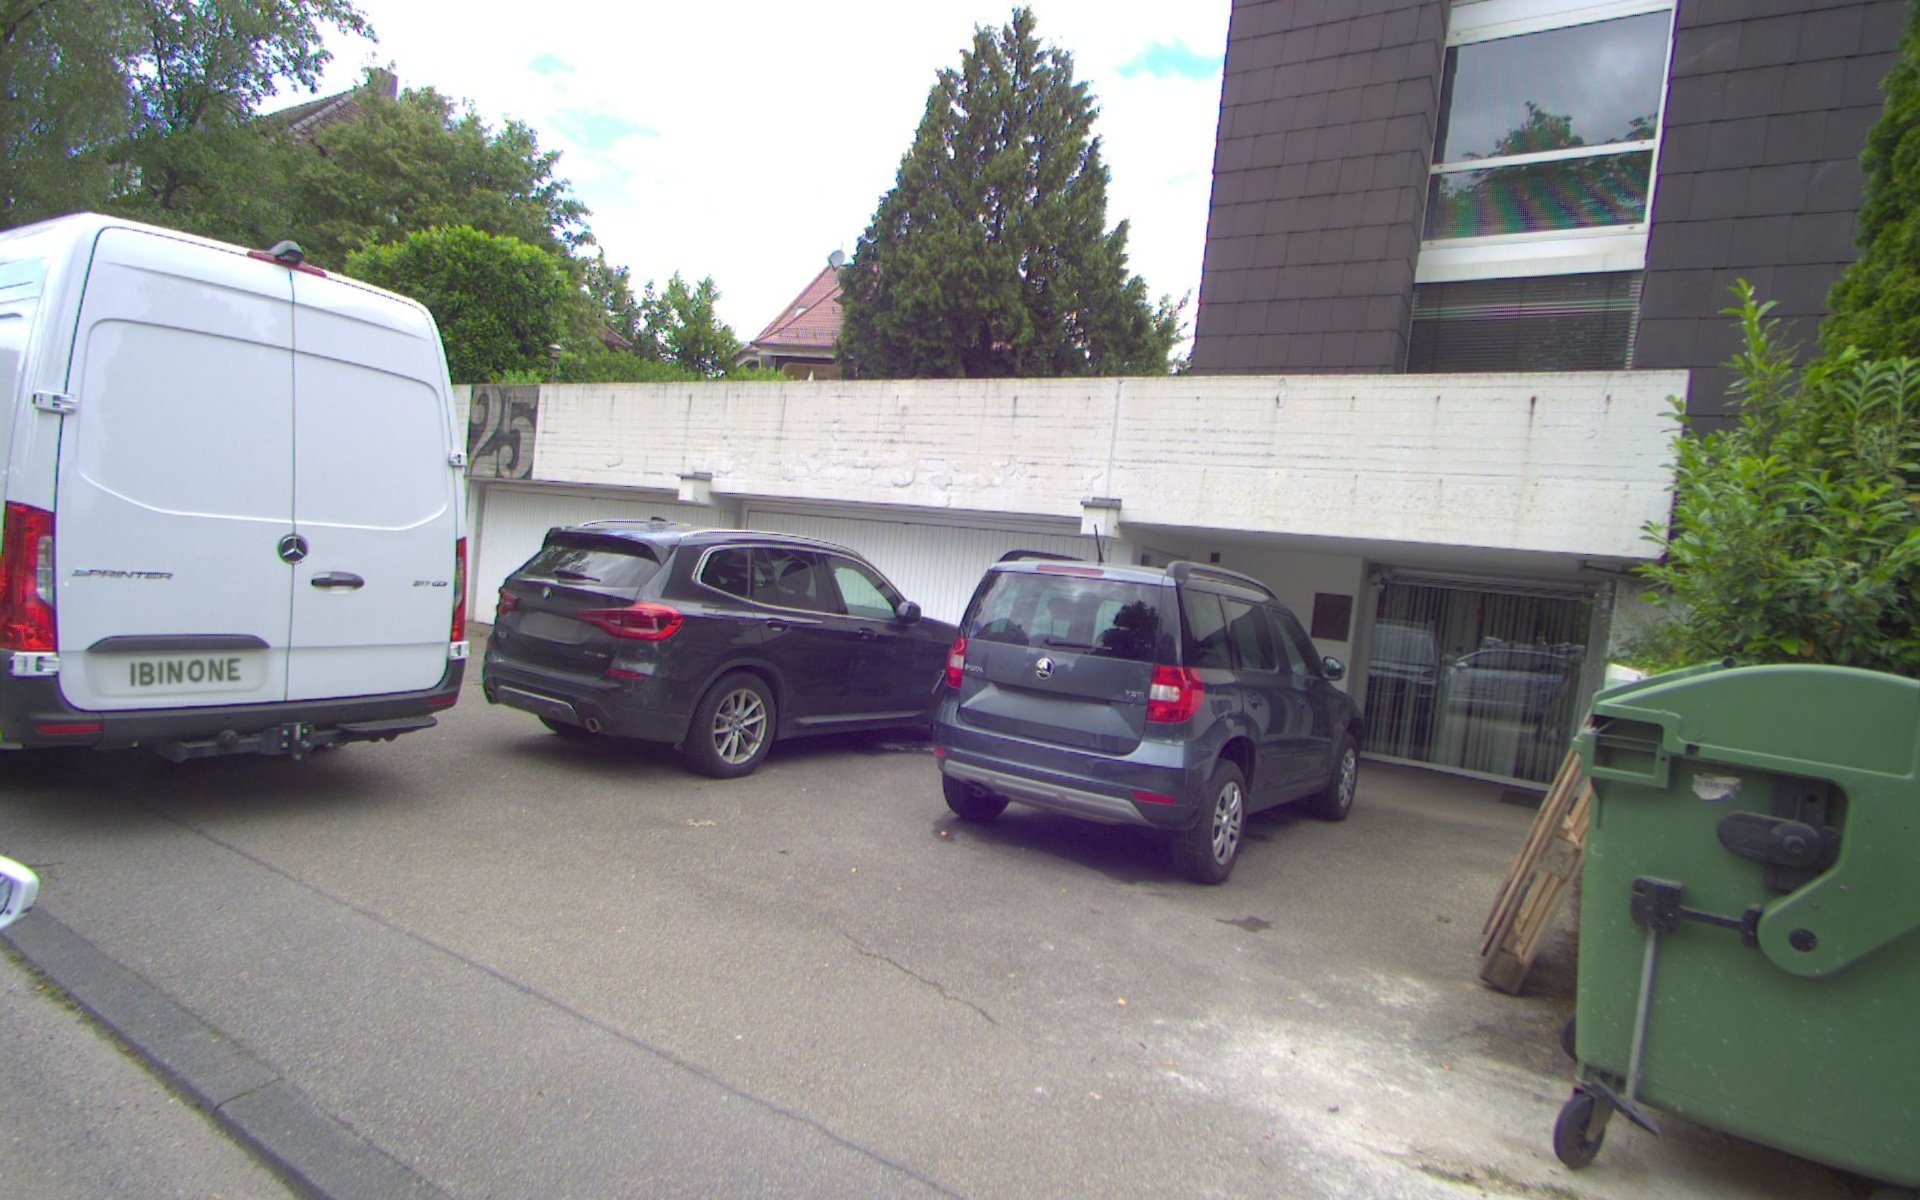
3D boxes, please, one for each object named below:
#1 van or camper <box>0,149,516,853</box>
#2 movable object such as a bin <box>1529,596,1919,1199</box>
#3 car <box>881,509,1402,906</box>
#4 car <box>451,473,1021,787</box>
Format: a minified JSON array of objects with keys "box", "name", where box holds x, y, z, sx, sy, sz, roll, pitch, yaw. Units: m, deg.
[{"box":[-5.764,-0.611,6.319,6.432,2.653,1.995,7,1,32],"name":"van or camper"},{"box":[2.295,0.838,2.809,1.016,1.550,1.034,7,1,33],"name":"movable object such as a bin"},{"box":[1.504,0.574,6.794,1.804,1.772,3.973,7,1,35],"name":"car"},{"box":[-1.420,0.246,8.096,1.710,1.772,4.419,7,1,33],"name":"car"}]
